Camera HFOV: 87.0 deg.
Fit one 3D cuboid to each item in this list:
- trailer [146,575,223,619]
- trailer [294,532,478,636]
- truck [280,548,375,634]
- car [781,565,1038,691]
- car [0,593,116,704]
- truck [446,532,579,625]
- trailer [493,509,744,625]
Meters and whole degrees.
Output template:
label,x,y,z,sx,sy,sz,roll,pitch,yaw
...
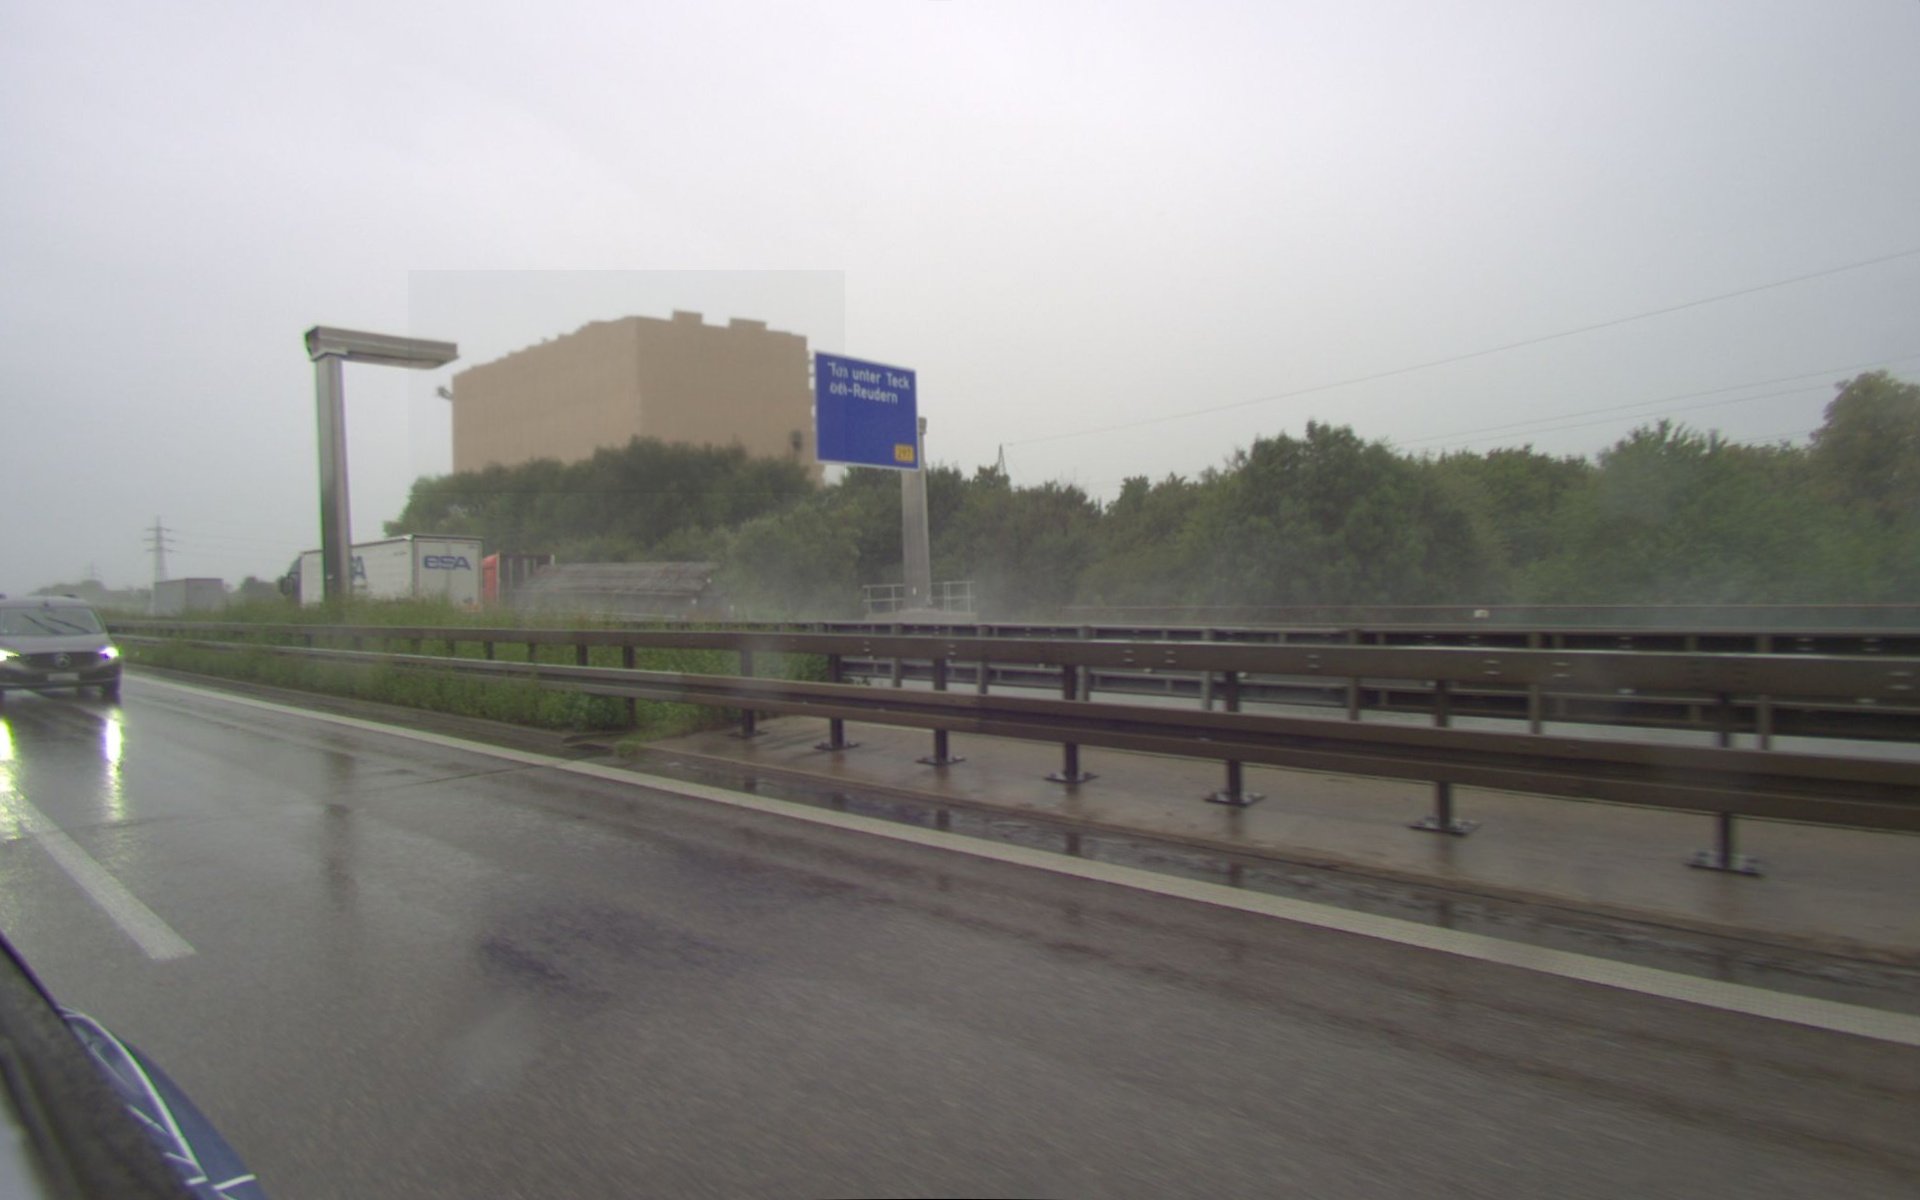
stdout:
label,x,y,z,sx,sy,sz,roll,pitch,yaw
trailer,-67.008,-0.180,87.264,13.442,3.433,2.645,-1,1,42
trailer,-24.564,-0.510,42.722,13.925,3.749,2.308,-1,3,42
truck,-29.583,-0.379,47.307,4.736,3.736,2.332,-1,3,42
car,-0.913,0.421,16.750,3.998,1.825,1.973,-1,0,41
car,-16.821,0.817,18.390,2.018,1.787,4.504,0,-1,-43
truck,-19.935,-0.901,44.920,6.508,3.747,2.877,-1,3,43
trailer,-13.612,-1.064,39.051,13.540,3.784,2.894,-1,3,43
